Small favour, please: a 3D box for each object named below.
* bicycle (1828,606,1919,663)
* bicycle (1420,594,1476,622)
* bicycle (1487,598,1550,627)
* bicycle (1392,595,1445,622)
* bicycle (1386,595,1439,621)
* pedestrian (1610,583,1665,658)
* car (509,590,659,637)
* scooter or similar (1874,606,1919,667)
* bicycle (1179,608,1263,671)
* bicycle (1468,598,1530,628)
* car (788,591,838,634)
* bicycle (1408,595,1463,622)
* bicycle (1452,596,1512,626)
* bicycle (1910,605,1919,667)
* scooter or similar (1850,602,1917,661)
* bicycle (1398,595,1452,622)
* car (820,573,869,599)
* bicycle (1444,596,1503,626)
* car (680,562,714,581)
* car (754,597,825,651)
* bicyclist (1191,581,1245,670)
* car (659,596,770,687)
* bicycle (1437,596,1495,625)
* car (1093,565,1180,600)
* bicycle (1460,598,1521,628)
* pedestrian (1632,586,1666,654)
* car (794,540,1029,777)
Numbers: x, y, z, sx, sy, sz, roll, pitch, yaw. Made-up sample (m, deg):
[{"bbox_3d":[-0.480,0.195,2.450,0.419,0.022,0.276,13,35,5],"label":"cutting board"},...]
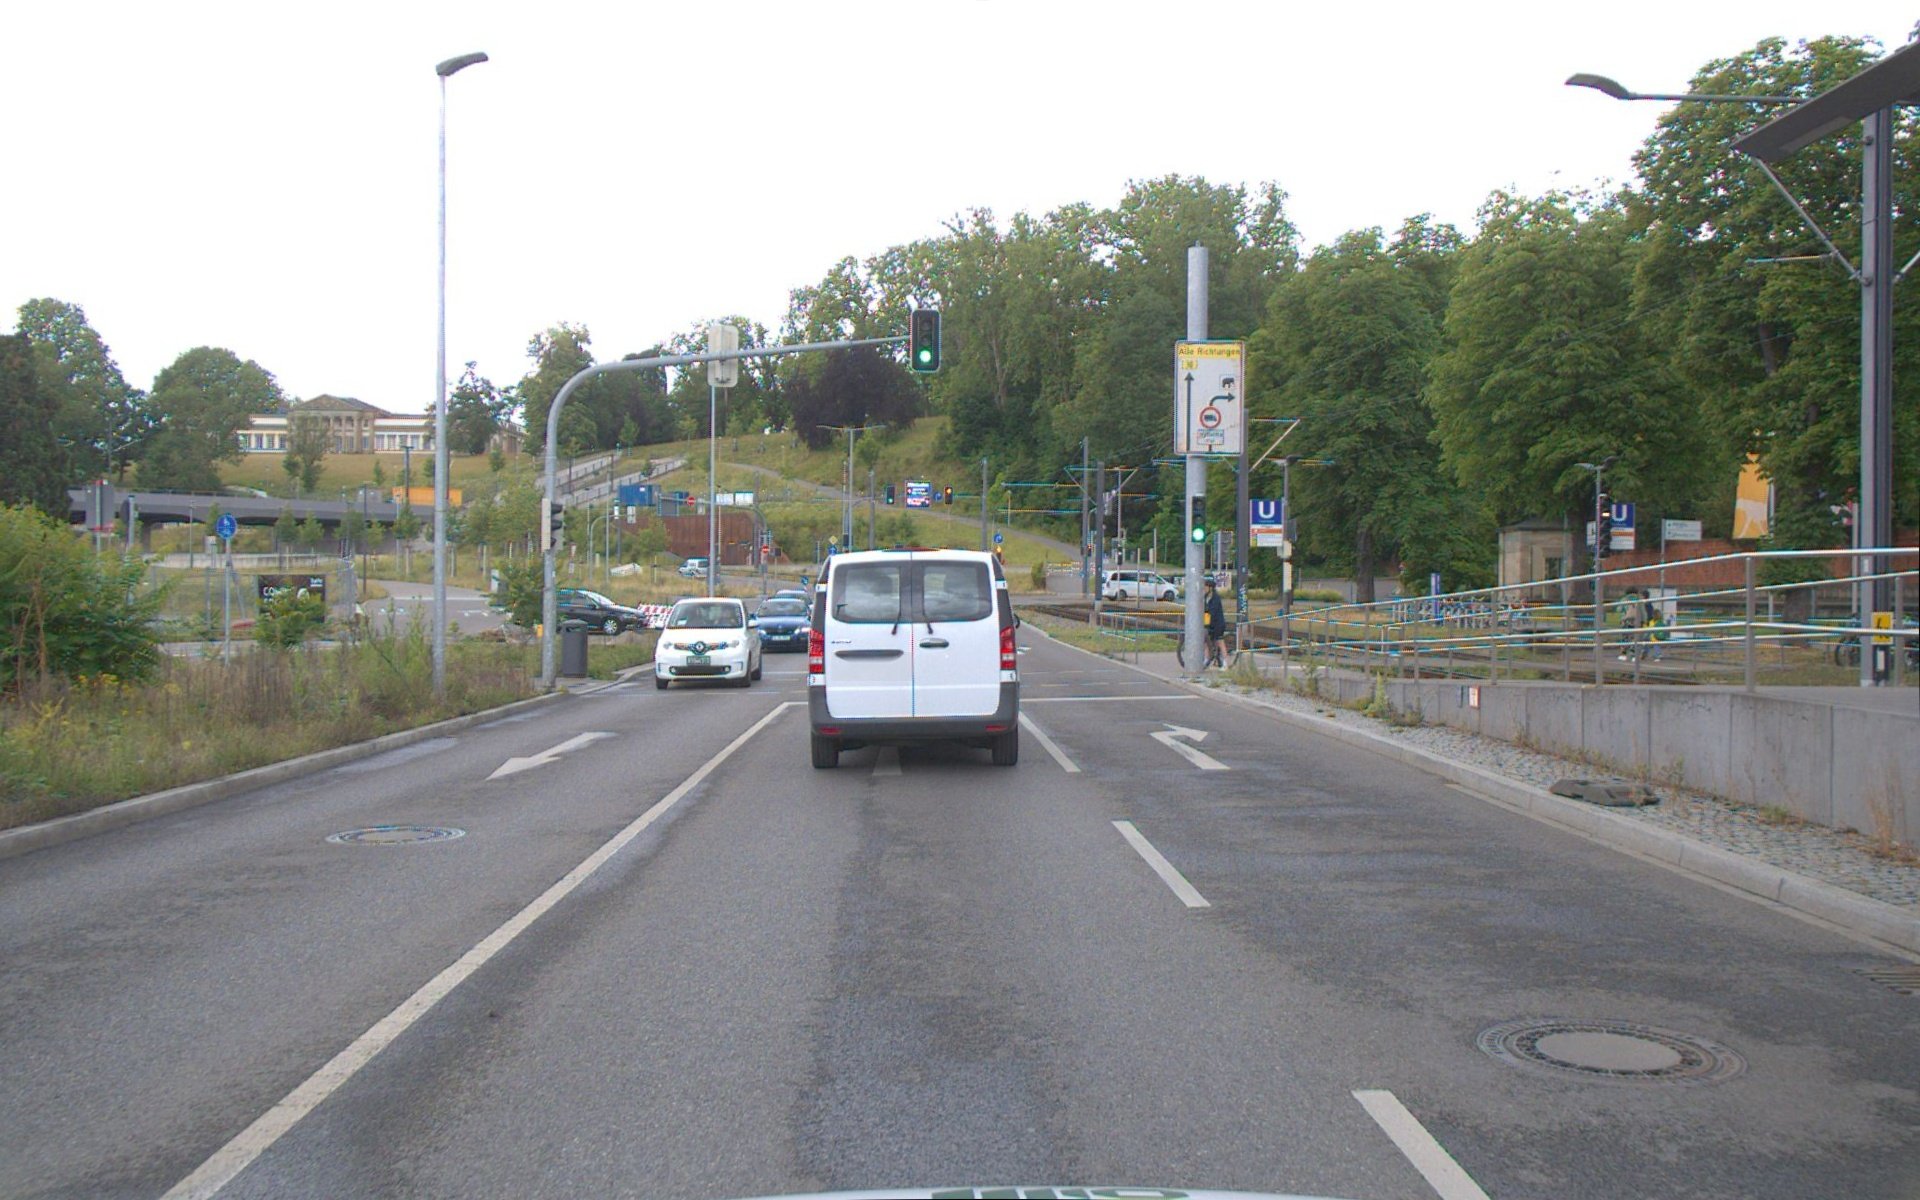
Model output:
[{"bbox_3d":[18.431,0.692,33.198,1.728,1.052,0.483,3,0,-2],"label":"bicycle"},{"bbox_3d":[17.730,0.301,60.152,1.873,0.992,0.530,0,0,-2],"label":"bicycle"},{"bbox_3d":[18.137,0.399,53.704,1.873,0.911,0.530,0,0,-2],"label":"bicycle"},{"bbox_3d":[17.381,0.312,62.665,1.873,0.992,0.530,0,0,-2],"label":"bicycle"},{"bbox_3d":[17.398,0.314,63.591,1.873,0.992,0.530,0,0,-2],"label":"bicycle"},{"bbox_3d":[15.022,0.440,36.664,0.821,1.637,0.772,-1,0,-24],"label":"pedestrian"},{"bbox_3d":[-12.943,0.458,57.032,4.608,1.503,2.002,0,1,8],"label":"car"},{"bbox_3d":[18.552,0.720,32.200,1.248,1.159,0.333,3,0,5],"label":"scooter or similar"},{"bbox_3d":[4.862,0.720,30.776,1.669,1.092,0.611,-1,2,-42],"label":"bicycle"},{"bbox_3d":[17.854,0.428,54.808,1.873,0.992,0.530,0,0,-2],"label":"bicycle"},{"bbox_3d":[-5.643,0.477,63.950,1.695,1.555,4.443,-1,0,-2],"label":"car"},{"bbox_3d":[17.519,0.303,60.960,1.873,0.992,0.530,0,0,-2],"label":"bicycle"},{"bbox_3d":[17.794,0.376,56.394,1.873,0.992,0.530,0,0,-2],"label":"bicycle"},{"bbox_3d":[18.799,0.712,30.859,1.835,1.159,0.532,3,0,-2],"label":"bicycle"},{"bbox_3d":[19.055,0.648,34.149,1.139,1.159,0.333,2,0,22],"label":"scooter or similar"},{"bbox_3d":[17.332,0.308,61.682,1.873,0.992,0.530,0,0,-2],"label":"bicycle"},{"bbox_3d":[-7.779,-0.934,111.147,1.914,1.655,3.966,1,1,-26],"label":"car"},{"bbox_3d":[17.740,0.378,57.133,1.873,0.992,0.530,0,0,-2],"label":"bicycle"},{"bbox_3d":[-23.493,-2.569,147.639,1.914,1.655,3.965,1,1,-27],"label":"car"},{"bbox_3d":[-4.794,0.661,46.949,1.695,1.446,4.443,-1,0,-2],"label":"car"},{"bbox_3d":[4.791,0.463,30.711,0.799,1.599,0.609,-1,2,-41],"label":"bicyclist"},{"bbox_3d":[-4.390,0.713,30.076,1.559,1.544,4.083,0,0,-2],"label":"car"},{"bbox_3d":[17.704,0.366,57.914,1.873,0.992,0.530,0,0,-2],"label":"bicycle"},{"bbox_3d":[11.038,-1.088,103.598,5.042,2.049,2.202,1,0,-11],"label":"car"},{"bbox_3d":[17.787,0.426,55.454,1.873,0.992,0.530,0,0,-2],"label":"bicycle"},{"bbox_3d":[15.640,0.443,37.536,0.490,1.528,0.512,-1,0,-24],"label":"pedestrian"},{"bbox_3d":[-0.333,0.467,15.769,1.918,1.937,4.462,0,0,2],"label":"car"}]
